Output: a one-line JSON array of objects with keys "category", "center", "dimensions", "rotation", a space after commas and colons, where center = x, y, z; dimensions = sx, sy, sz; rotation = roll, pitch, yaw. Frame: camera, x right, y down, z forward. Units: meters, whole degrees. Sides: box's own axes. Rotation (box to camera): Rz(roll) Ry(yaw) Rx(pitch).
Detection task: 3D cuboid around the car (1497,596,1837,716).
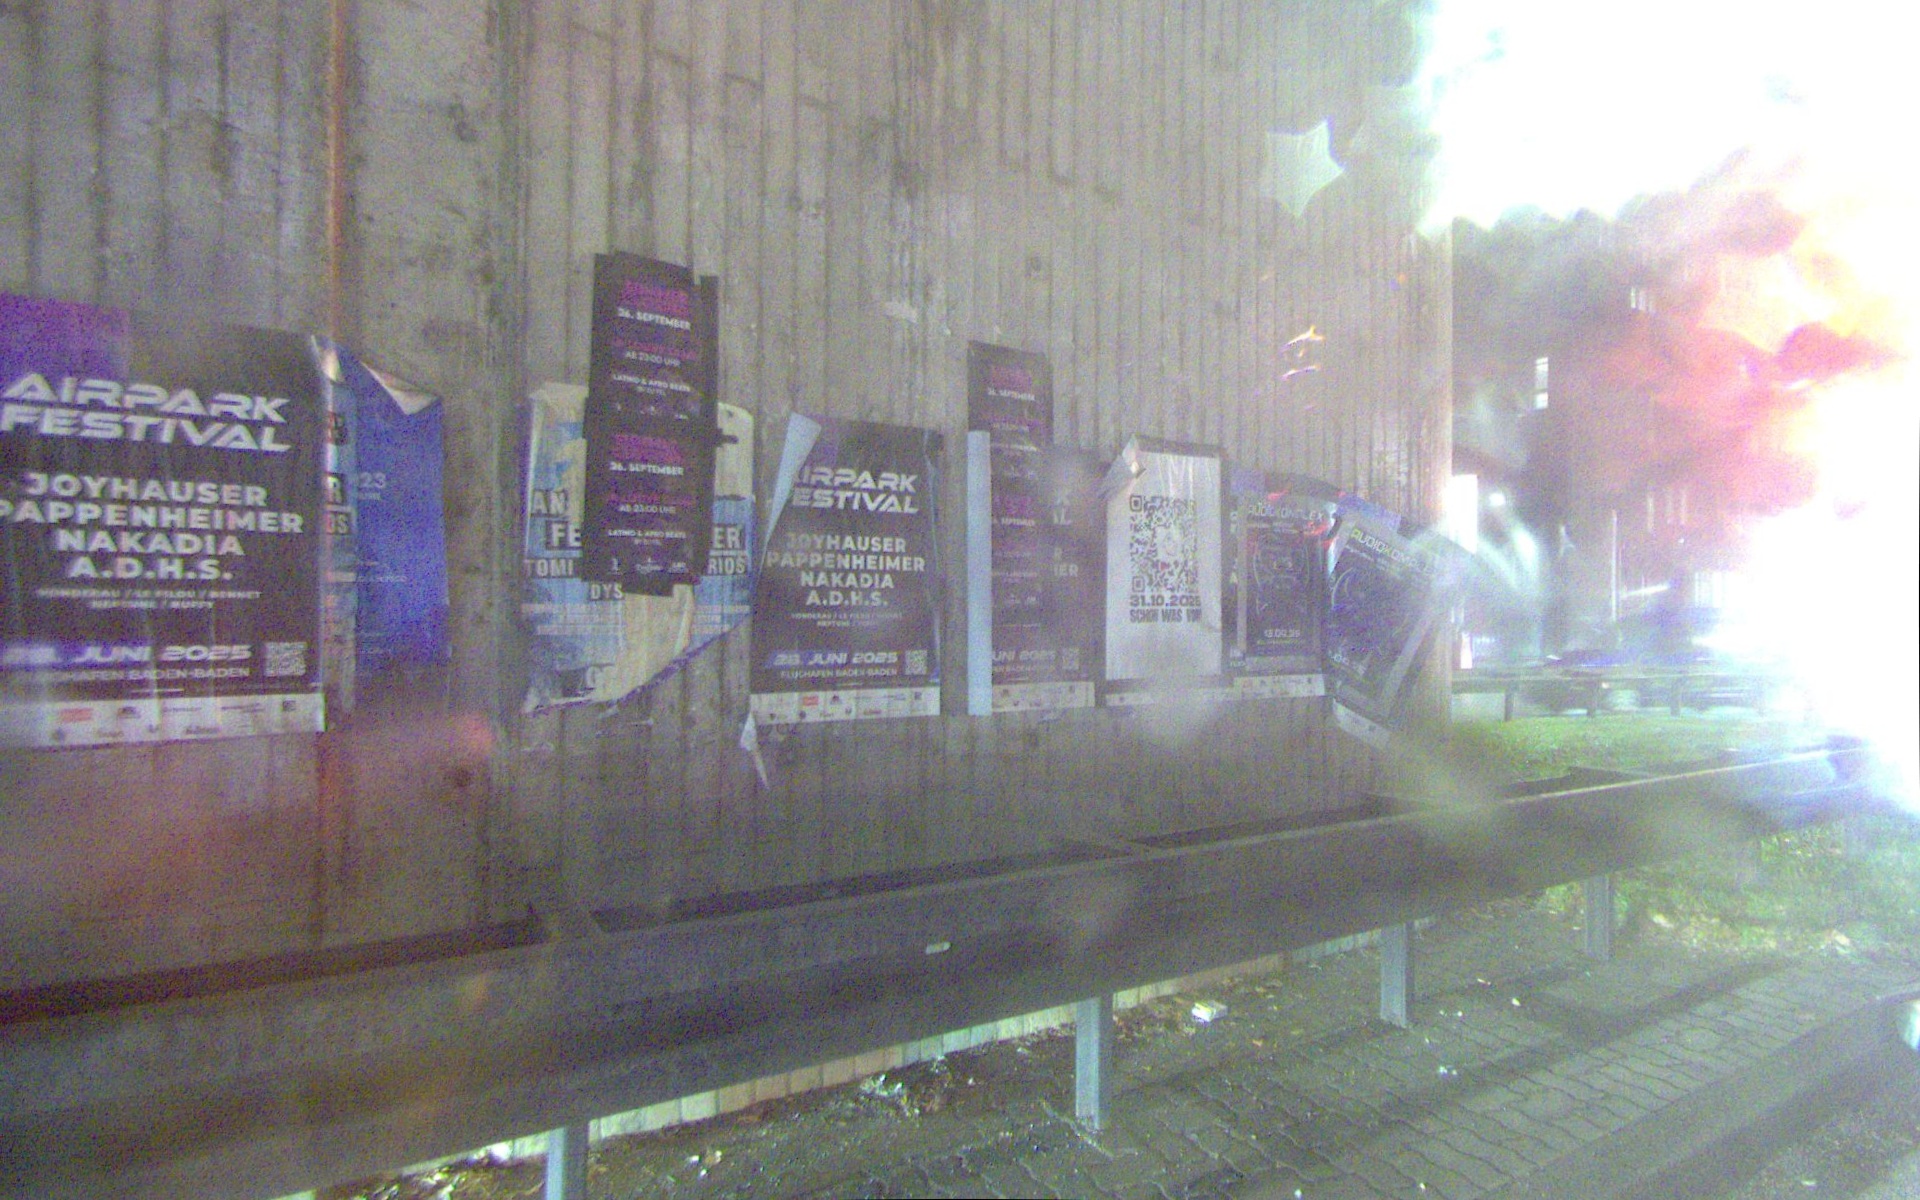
[{"category": "car", "center": [11.693, 0.896, 16.811], "dimensions": [4.419, 1.773, 1.859], "rotation": [2, 0, -3]}]
